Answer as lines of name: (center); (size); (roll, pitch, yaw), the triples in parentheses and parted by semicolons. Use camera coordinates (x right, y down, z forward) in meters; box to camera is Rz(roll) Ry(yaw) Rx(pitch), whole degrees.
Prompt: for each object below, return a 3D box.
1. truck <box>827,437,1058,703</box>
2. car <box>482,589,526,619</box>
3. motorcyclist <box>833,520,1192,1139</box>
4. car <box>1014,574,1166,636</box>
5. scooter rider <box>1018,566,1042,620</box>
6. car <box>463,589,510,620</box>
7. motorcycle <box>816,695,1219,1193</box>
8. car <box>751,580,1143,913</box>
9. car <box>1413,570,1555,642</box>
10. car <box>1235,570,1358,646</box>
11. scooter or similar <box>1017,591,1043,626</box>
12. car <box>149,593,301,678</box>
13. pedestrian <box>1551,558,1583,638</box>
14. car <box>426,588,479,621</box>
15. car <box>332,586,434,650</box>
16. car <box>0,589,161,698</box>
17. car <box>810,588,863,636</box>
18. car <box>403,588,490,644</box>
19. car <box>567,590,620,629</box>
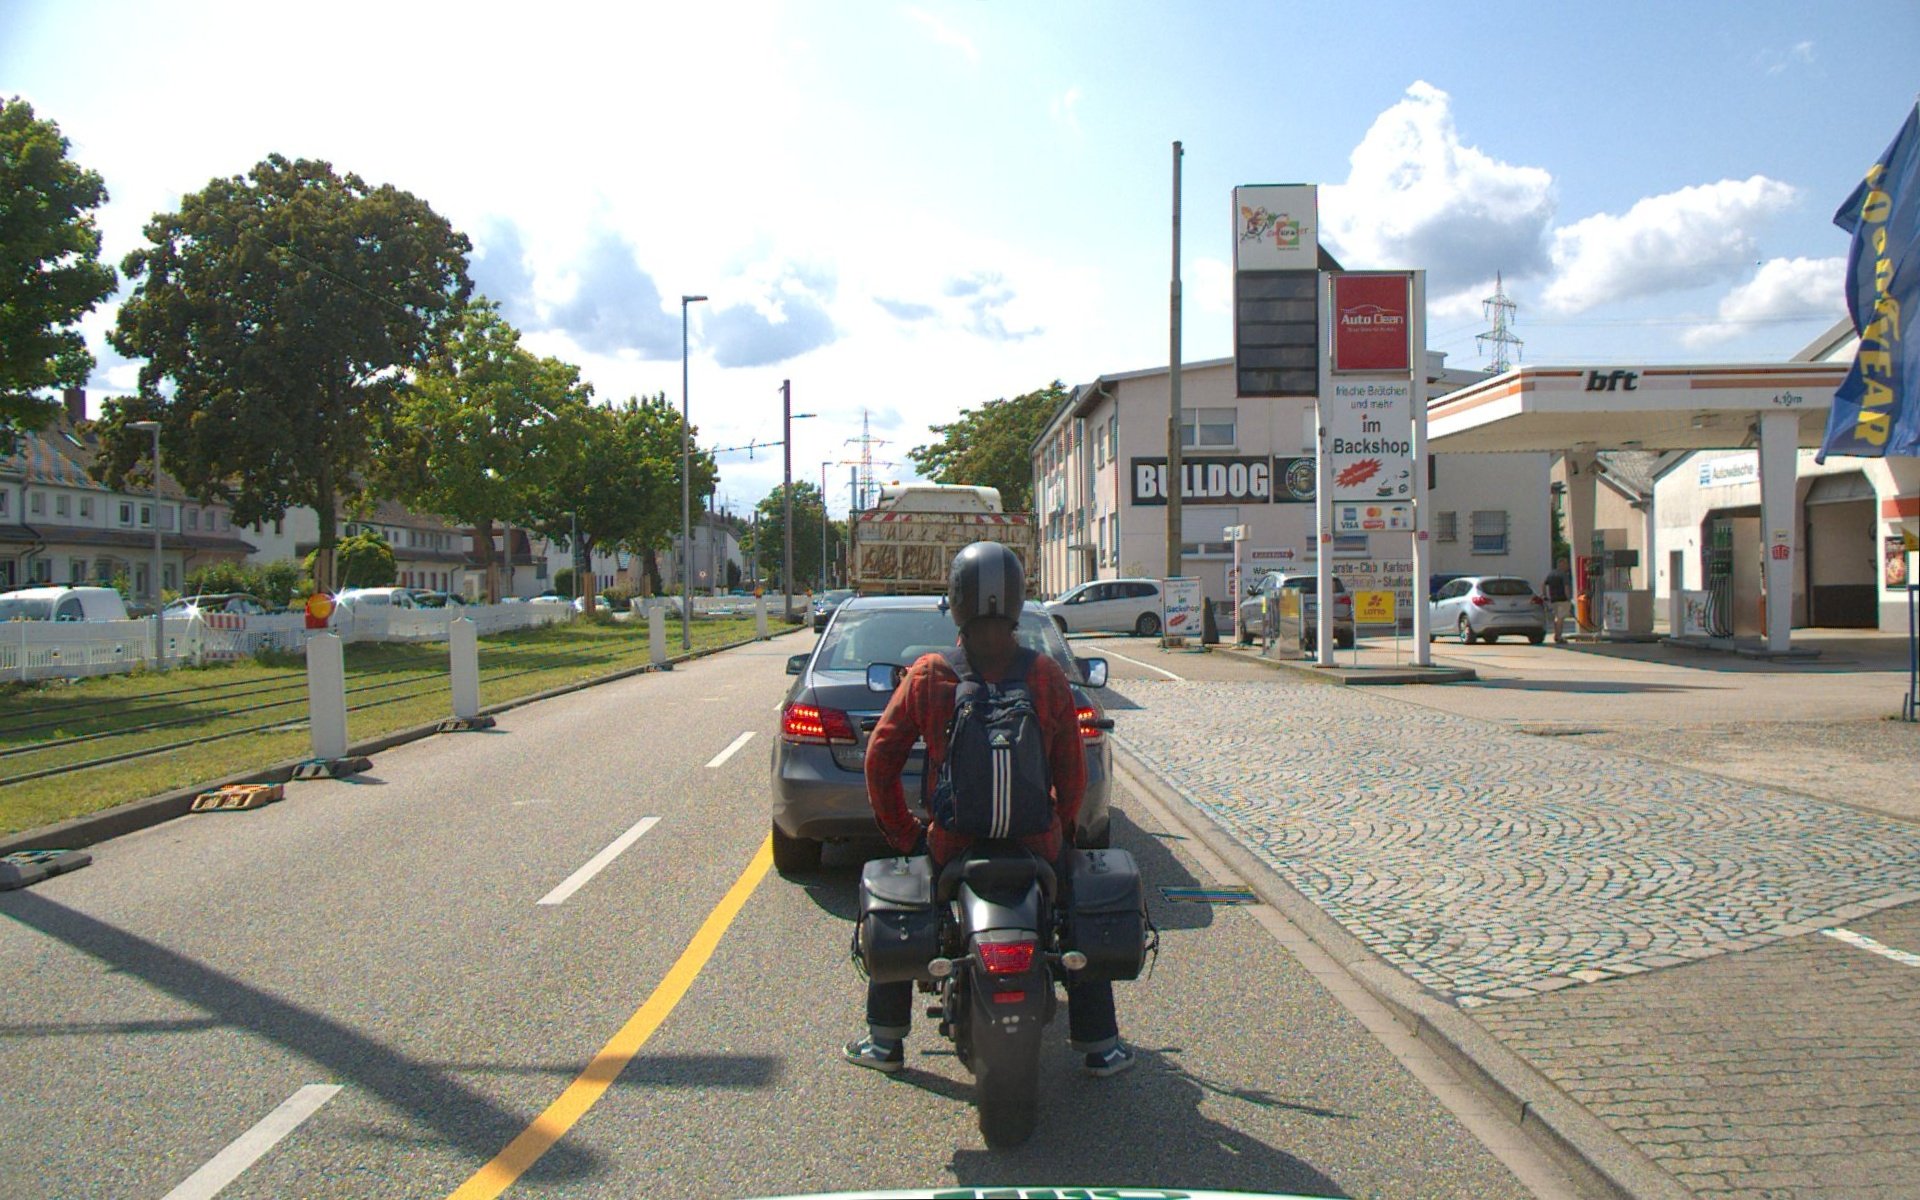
truck: (-0.353, -0.421, 25.468); (2.910, 3.362, 8.404); (-1, 0, -2)
car: (-28.668, 0.232, 104.145); (1.664, 1.770, 4.061); (-1, 0, -1)
motorcyclist: (0.133, 0.617, 5.075); (0.950, 1.662, 1.214); (1, 0, -1)
car: (3.671, 0.120, 47.084); (4.029, 1.652, 1.682); (-1, 0, -9)
scooter rider: (2.388, -0.240, 56.625); (0.779, 1.850, 0.508); (-1, 0, -1)
car: (-28.065, 0.261, 98.143); (1.664, 1.770, 4.061); (-1, 0, -1)
motorcycle: (0.122, 0.900, 5.194); (0.956, 1.031, 2.431); (1, 0, -1)
car: (-0.119, 0.662, 9.706); (1.795, 1.505, 4.008); (-1, 0, -2)
car: (11.774, 0.104, 37.421); (1.795, 1.505, 4.008); (-1, 0, -2)
car: (7.403, 0.144, 36.755); (1.795, 1.562, 4.008); (-1, 0, -2)
scooter or similar: (2.398, 0.281, 56.678); (0.779, 1.165, 1.519); (-1, 0, -1)
car: (-16.671, 0.757, 37.716); (1.664, 1.770, 4.053); (-1, 0, -1)
pedestrian: (13.136, -0.046, 35.792); (0.621, 1.712, 0.622); (-1, 0, 20)
car: (-28.184, 0.246, 91.932); (1.664, 1.770, 4.061); (-1, 0, -1)
car: (-16.901, 0.493, 48.614); (1.664, 1.770, 3.860); (-1, 0, -1)
car: (-16.416, 0.743, 30.292); (1.664, 1.849, 3.860); (-1, 0, -1)
car: (-4.387, 0.397, 59.218); (1.646, 1.652, 4.118); (-1, 0, -1)
car: (-17.019, 0.498, 54.979); (1.664, 1.770, 3.860); (-1, 0, -1)
car: (-17.433, 0.413, 78.858); (1.664, 1.770, 3.860); (-1, 0, -1)
